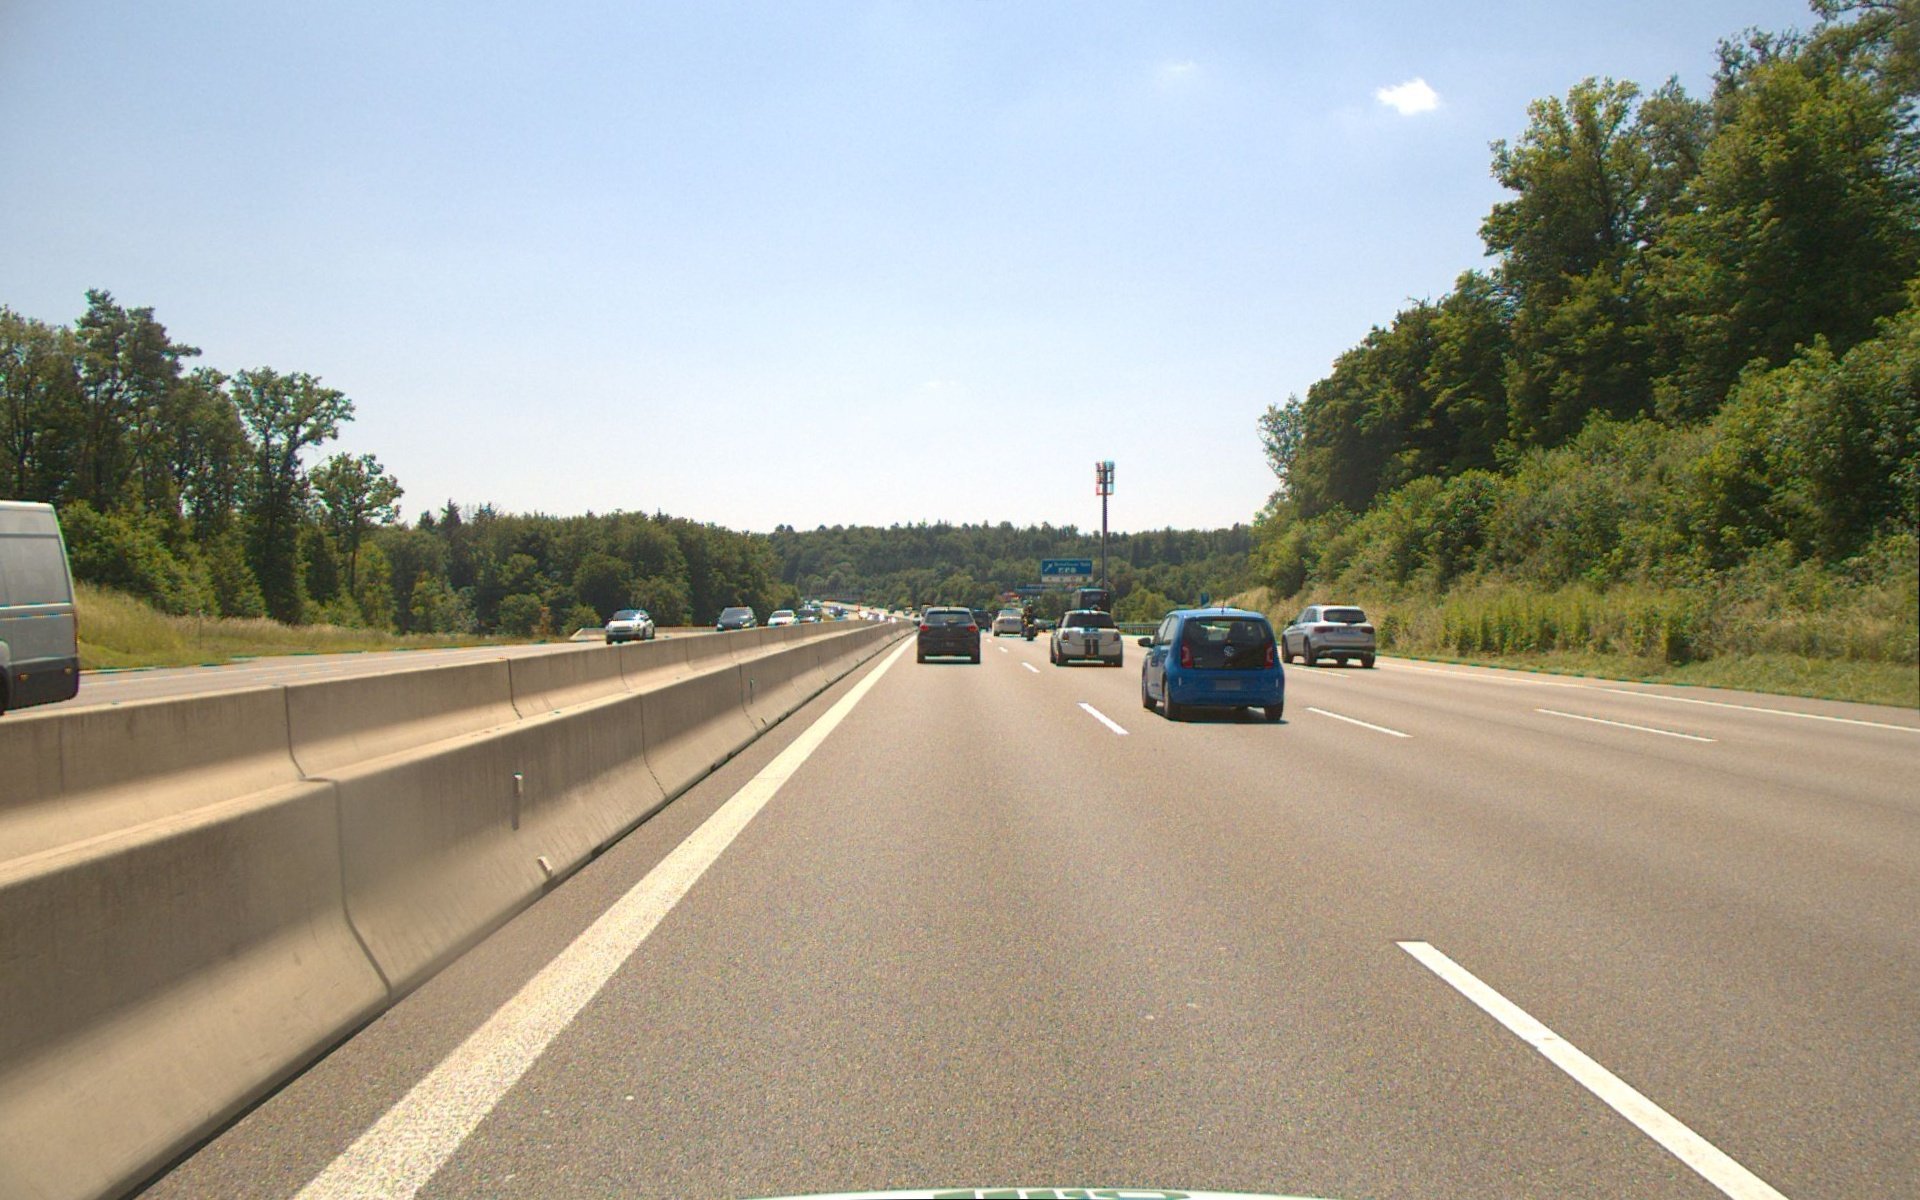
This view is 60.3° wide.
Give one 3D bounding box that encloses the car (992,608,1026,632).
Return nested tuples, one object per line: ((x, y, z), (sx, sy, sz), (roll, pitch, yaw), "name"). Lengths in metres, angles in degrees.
((2.746, 1.111, 92.937), (1.746, 1.287, 3.459), (-1, 0, -1), "car")

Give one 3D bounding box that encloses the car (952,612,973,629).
((0.280, 2.269, 184.660), (1.955, 1.713, 4.419), (1, 0, -5), "car")

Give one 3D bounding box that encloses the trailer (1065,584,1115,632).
((10.722, 0.786, 137.875), (2.799, 3.752, 13.537), (-1, -1, -1), "trailer")

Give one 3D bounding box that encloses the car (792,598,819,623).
((-12.656, 0.841, 135.779), (1.954, 2.049, 4.810), (-1, 0, -3), "car")

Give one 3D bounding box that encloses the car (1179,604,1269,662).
((7.062, 0.844, 44.589), (1.632, 1.458, 4.374), (-1, 0, -1), "car")

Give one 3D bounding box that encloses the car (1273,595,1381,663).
((10.217, 0.766, 46.402), (1.764, 1.761, 5.238), (1, 0, -1), "car")

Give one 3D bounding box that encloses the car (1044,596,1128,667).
((3.213, 0.769, 42.949), (1.804, 1.579, 4.000), (3, 1, 0), "car")

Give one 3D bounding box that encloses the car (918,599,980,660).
((-0.299, 0.746, 44.310), (1.591, 1.513, 3.685), (1, 1, 0), "car")

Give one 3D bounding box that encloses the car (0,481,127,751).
((-11.137, 0.203, 16.304), (2.043, 2.848, 7.601), (-2, 0, -1), "car")

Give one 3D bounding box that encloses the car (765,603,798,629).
((-12.129, 1.092, 112.814), (1.857, 1.691, 4.727), (-1, 0, -2), "car")

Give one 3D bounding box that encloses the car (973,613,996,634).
((2.307, 2.253, 159.558), (2.054, 1.884, 4.080), (-1, 0, -1), "car")

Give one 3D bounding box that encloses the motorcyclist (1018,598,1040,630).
((3.242, 0.670, 77.724), (0.943, 1.463, 1.234), (-2, 0, -2), "motorcyclist")

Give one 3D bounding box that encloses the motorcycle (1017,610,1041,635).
((3.247, 1.027, 77.786), (0.958, 1.149, 2.270), (0, 0, -2), "motorcycle")

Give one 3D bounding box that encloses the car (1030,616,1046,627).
((9.474, 2.625, 201.435), (1.576, 1.234, 3.458), (-1, -1, -2), "car")

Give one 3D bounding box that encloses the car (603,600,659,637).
((-15.501, 0.860, 78.136), (1.708, 1.589, 4.422), (-2, 0, 0), "car")

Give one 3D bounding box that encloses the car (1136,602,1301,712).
((3.590, 0.769, 23.613), (1.702, 1.436, 3.999), (0, -1, 0), "car")

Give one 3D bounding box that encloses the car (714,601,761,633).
((-11.556, 0.857, 86.071), (1.764, 1.576, 4.728), (-1, 0, 0), "car")
